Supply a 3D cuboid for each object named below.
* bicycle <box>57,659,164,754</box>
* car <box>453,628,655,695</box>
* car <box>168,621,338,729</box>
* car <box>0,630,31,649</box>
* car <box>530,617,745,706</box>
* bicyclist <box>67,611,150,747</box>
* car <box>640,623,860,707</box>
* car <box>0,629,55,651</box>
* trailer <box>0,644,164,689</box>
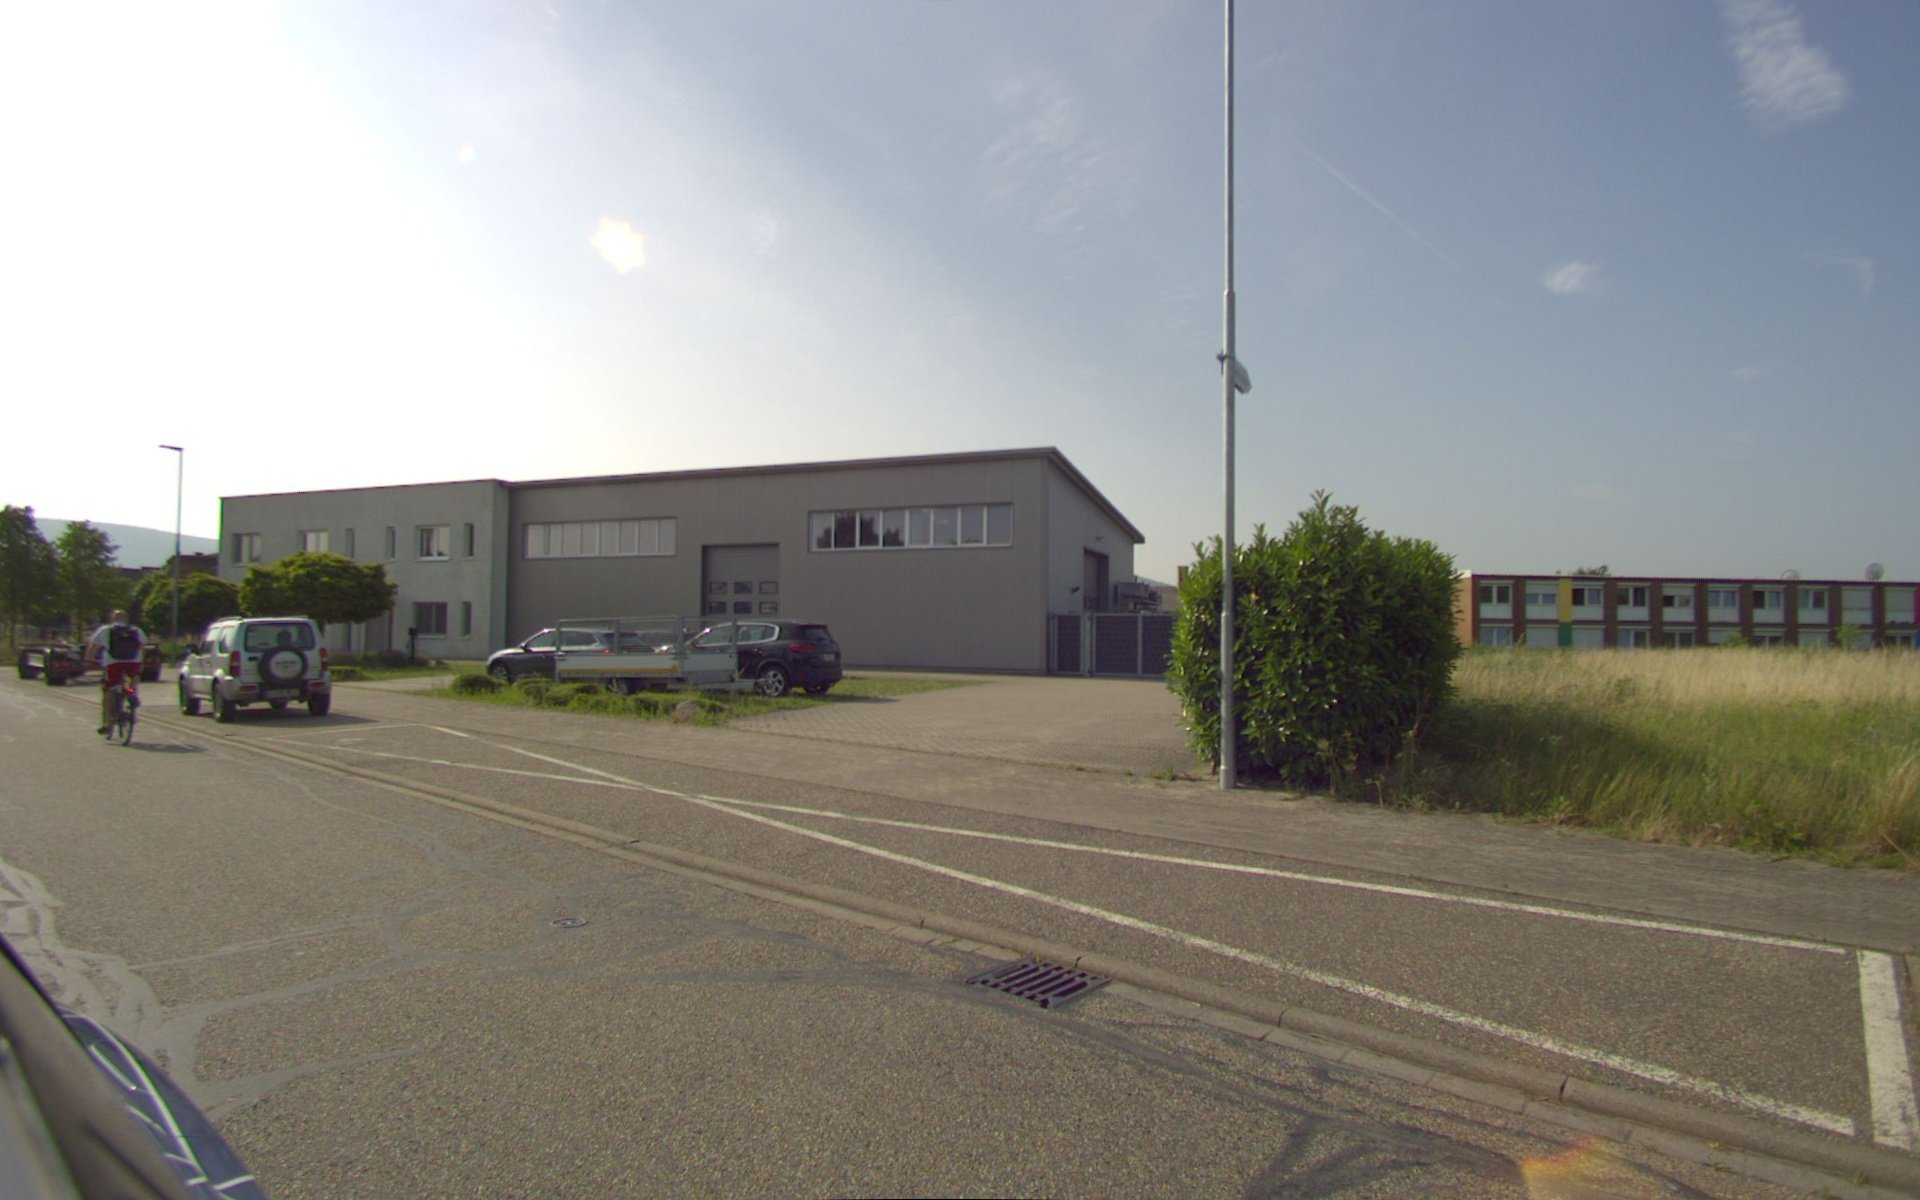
[{"bbox_3d":[-11.379,1.390,13.530,2.218,1.131,0.708,-2,-5,41],"label":"bicycle"},{"bbox_3d":[-9.668,1.412,24.114,4.394,1.488,1.966,-1,-2,24],"label":"car"},{"bbox_3d":[-12.288,1.221,17.521,3.642,1.663,1.580,-2,-2,41],"label":"car"},{"bbox_3d":[-92.104,3.775,97.005,1.985,1.807,3.974,-1,-2,19],"label":"car"},{"bbox_3d":[-6.325,1.137,19.842,3.794,1.584,1.824,-1,-1,25],"label":"car"},{"bbox_3d":[-11.412,1.031,13.559,1.165,1.732,0.632,-2,-3,41],"label":"bicyclist"},{"bbox_3d":[-4.567,1.349,22.024,4.394,1.671,1.980,-1,-2,24],"label":"car"},{"bbox_3d":[-75.528,3.221,81.298,1.999,1.741,3.944,-2,-3,42],"label":"car"},{"bbox_3d":[-26.751,1.929,30.579,9.726,1.082,2.519,-2,-2,41],"label":"trailer"}]
